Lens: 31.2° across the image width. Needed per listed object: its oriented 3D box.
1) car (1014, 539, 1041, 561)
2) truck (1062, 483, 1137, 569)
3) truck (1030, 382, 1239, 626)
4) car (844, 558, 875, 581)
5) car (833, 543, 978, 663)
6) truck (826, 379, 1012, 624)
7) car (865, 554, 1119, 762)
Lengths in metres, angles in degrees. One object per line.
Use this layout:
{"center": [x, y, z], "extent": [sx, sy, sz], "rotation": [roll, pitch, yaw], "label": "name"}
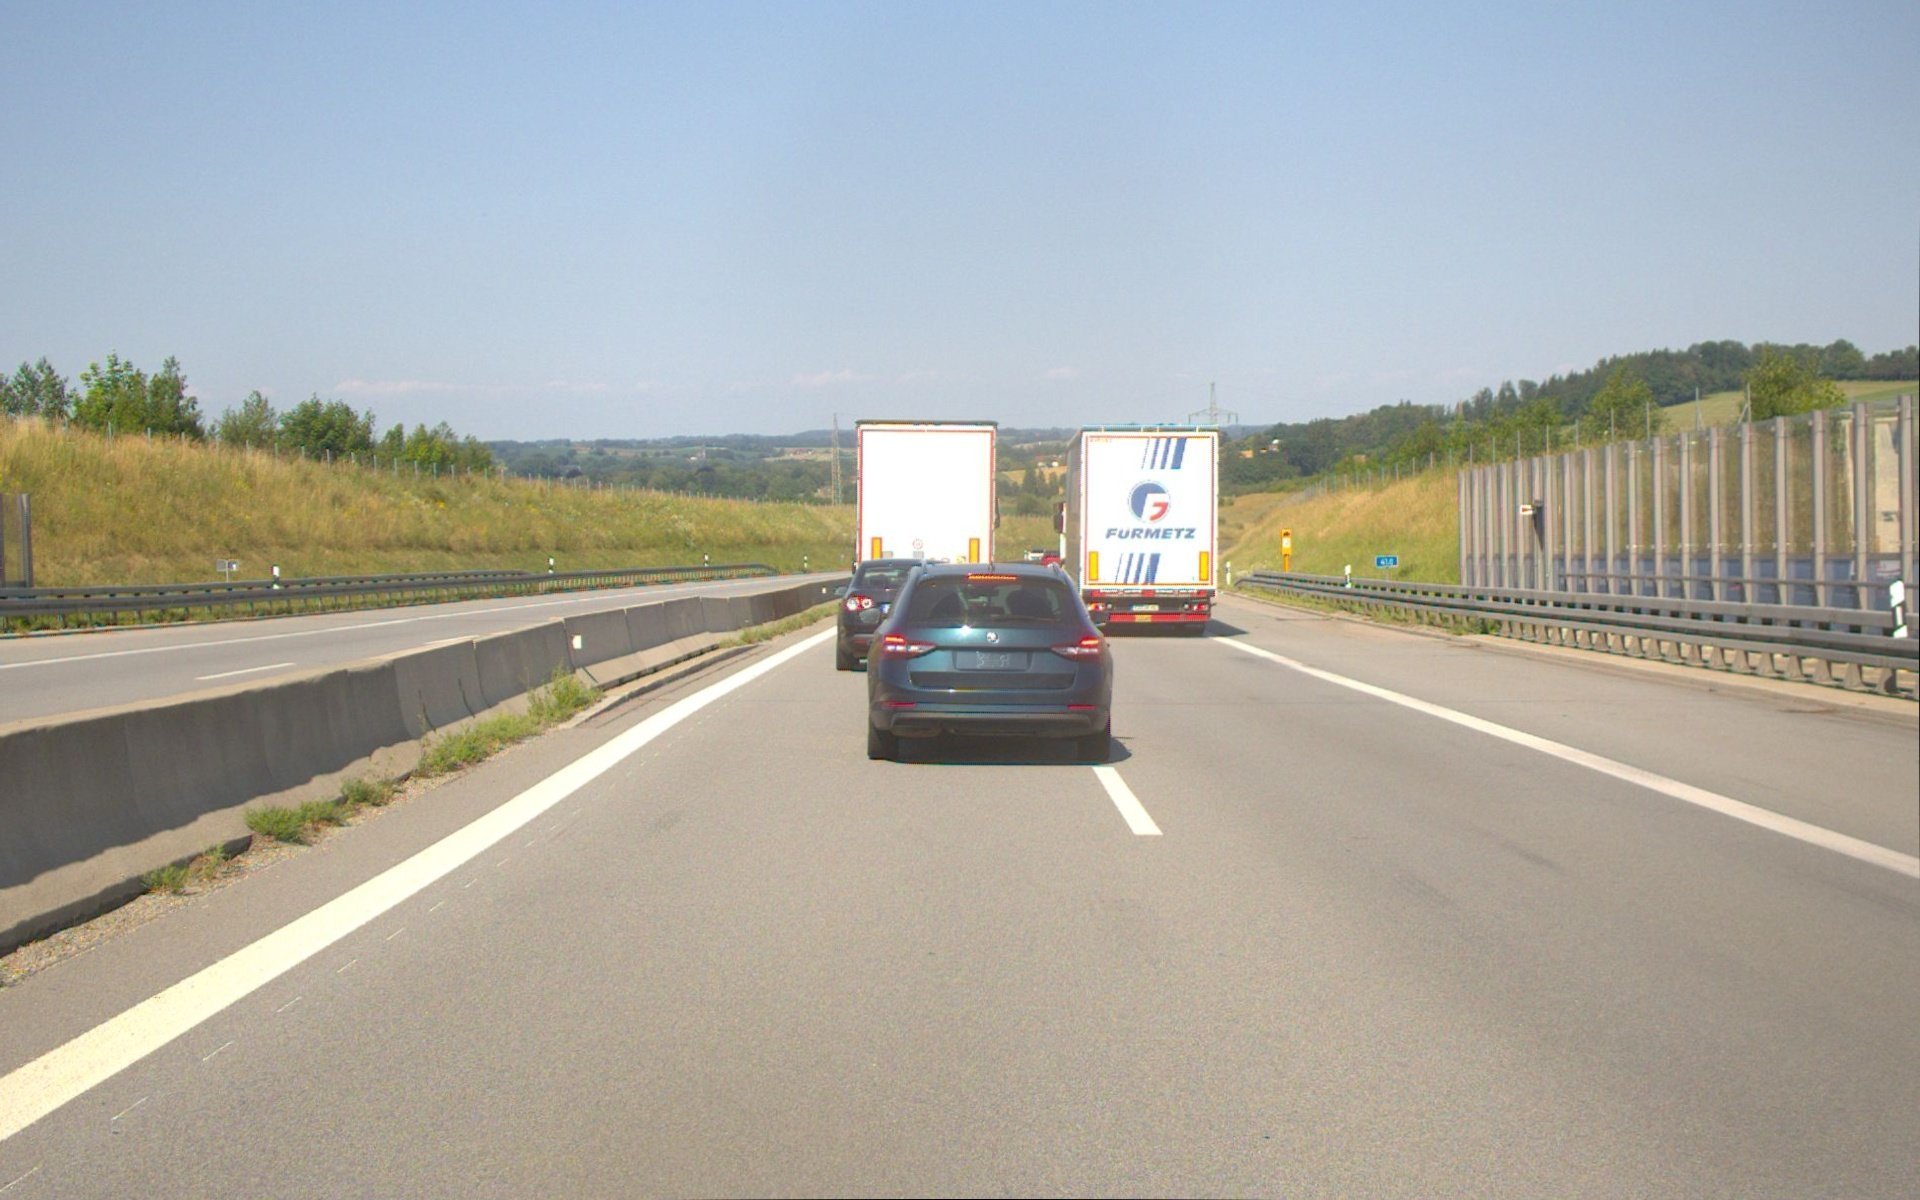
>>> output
{"center": [4.561, -3.416, 233.404], "extent": [1.700, 1.436, 4.000], "rotation": [0, 1, -1], "label": "car"}
{"center": [7.474, -3.989, 185.910], "extent": [3.604, 4.366, 11.234], "rotation": [-2, 1, 1], "label": "truck"}
{"center": [3.331, -1.879, 69.072], "extent": [3.604, 4.366, 11.234], "rotation": [-2, 1, 1], "label": "truck"}
{"center": [-6.441, -1.947, 220.874], "extent": [1.746, 1.351, 4.000], "rotation": [-2, 1, 1], "label": "car"}
{"center": [-0.755, 0.003, 45.024], "extent": [1.700, 1.436, 4.001], "rotation": [-2, 1, -3], "label": "car"}
{"center": [-0.665, -1.912, 68.687], "extent": [3.211, 4.366, 11.233], "rotation": [-2, 1, 1], "label": "truck"}
{"center": [0.200, 0.381, 25.993], "extent": [1.776, 1.436, 3.789], "rotation": [0, 1, -1], "label": "car"}
